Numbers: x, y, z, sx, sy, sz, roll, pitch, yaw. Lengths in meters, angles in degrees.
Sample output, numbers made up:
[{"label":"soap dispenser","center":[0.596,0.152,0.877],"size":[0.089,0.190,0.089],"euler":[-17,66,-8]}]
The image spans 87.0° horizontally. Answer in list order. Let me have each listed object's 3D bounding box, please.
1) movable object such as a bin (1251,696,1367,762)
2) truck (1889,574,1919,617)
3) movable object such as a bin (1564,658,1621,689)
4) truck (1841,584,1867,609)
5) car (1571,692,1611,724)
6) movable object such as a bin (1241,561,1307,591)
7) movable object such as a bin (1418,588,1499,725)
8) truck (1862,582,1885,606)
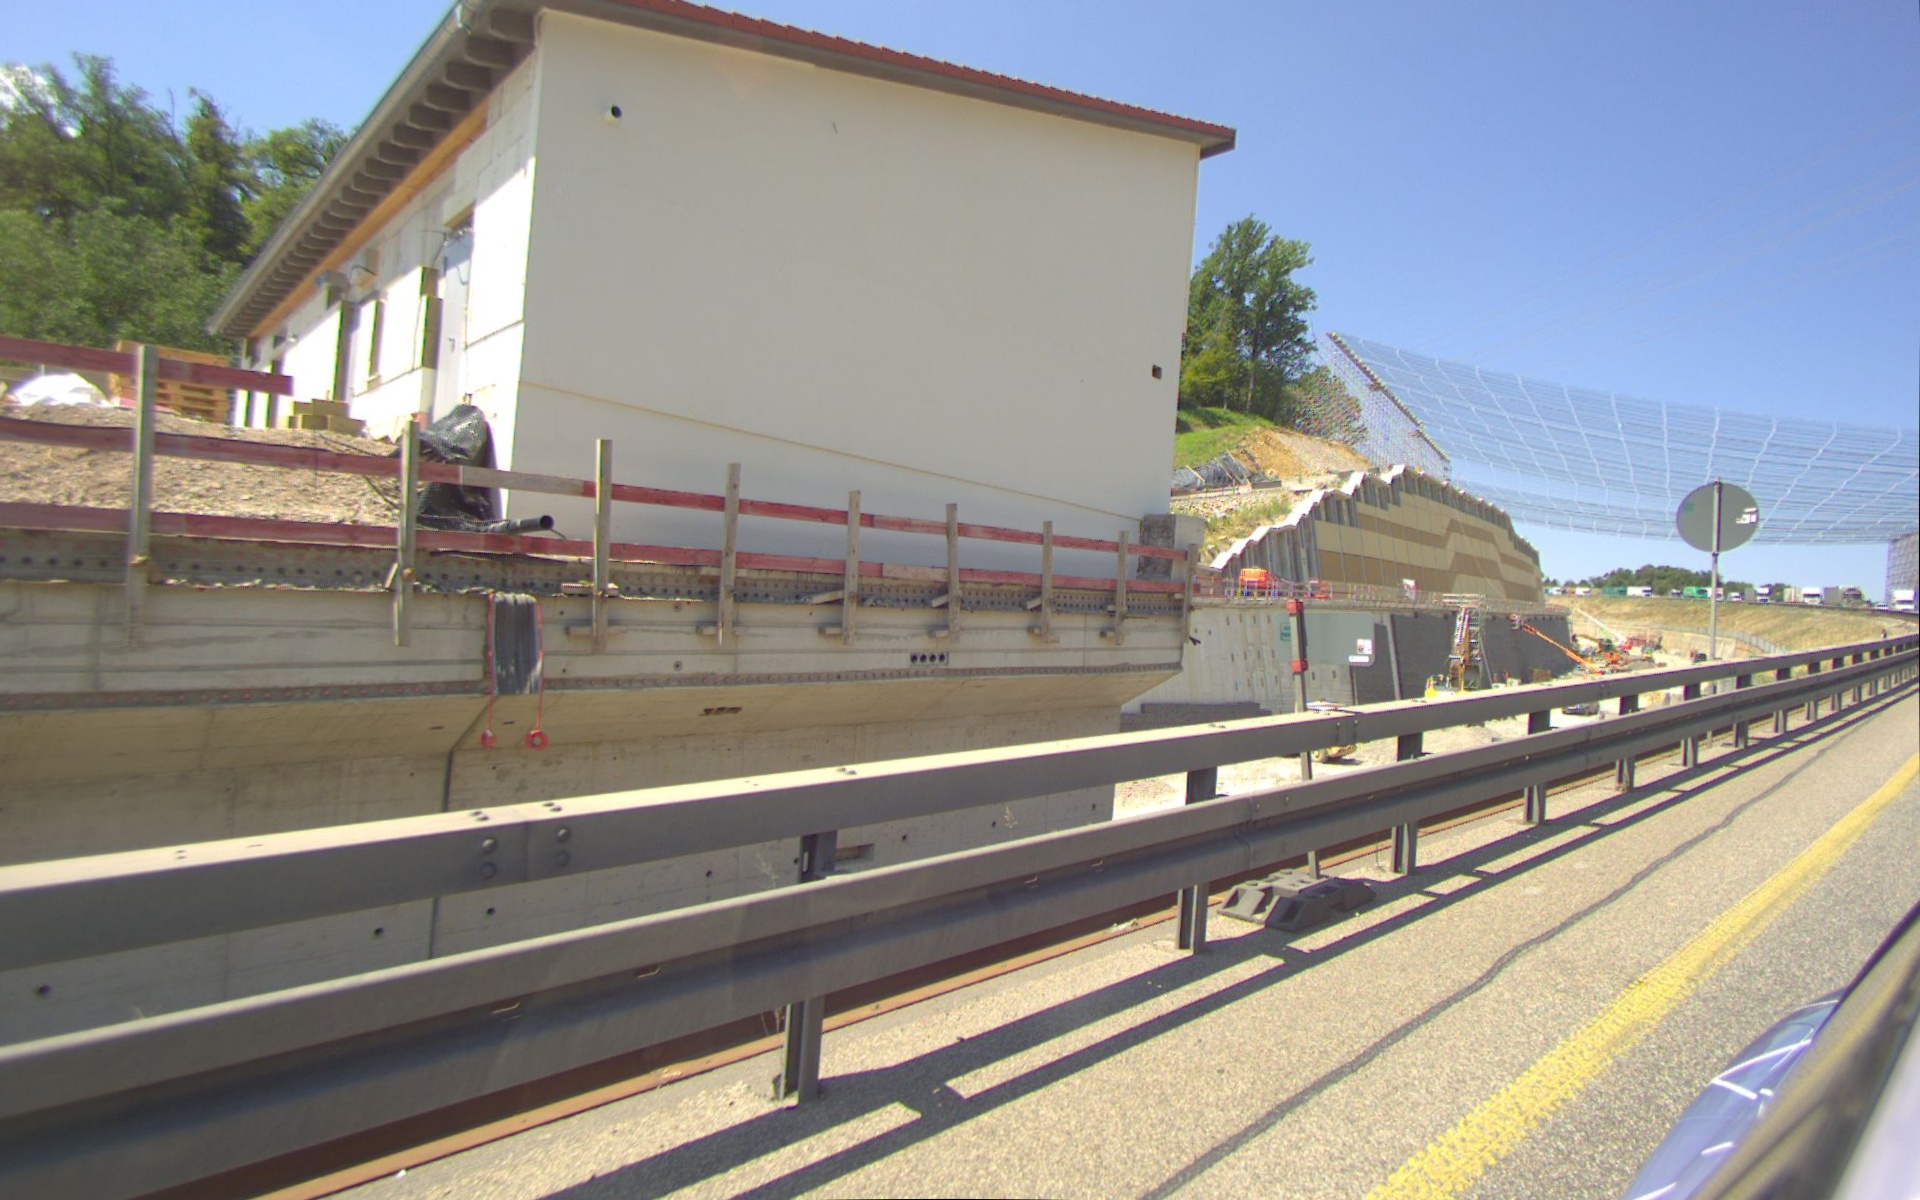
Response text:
[{"label":"movable object such as a bin","center":[17.173,6.309,50.041],"size":[2.023,2.625,5.116],"euler":[1,-1,-40]},{"label":"truck","center":[111.295,-0.599,118.887],"size":[3.032,4.866,8.804],"euler":[-1,0,43]},{"label":"movable object such as a bin","center":[65.293,7.559,104.564],"size":[2.176,2.670,5.505],"euler":[-1,0,-4]},{"label":"truck","center":[148.251,-0.637,167.748],"size":[3.032,4.107,8.543],"euler":[-1,0,42]},{"label":"car","center":[50.029,8.500,80.224],"size":[1.992,2.039,3.940],"euler":[-1,0,42]},{"label":"movable object such as a bin","center":[22.042,-1.649,70.995],"size":[5.264,2.039,2.078],"euler":[-1,0,-43]},{"label":"movable object such as a bin","center":[28.781,3.052,58.300],"size":[2.919,7.446,6.153],"euler":[-1,0,38]},{"label":"truck","center":[163.330,-1.096,180.924],"size":[2.975,4.217,8.803],"euler":[-1,0,43]}]
